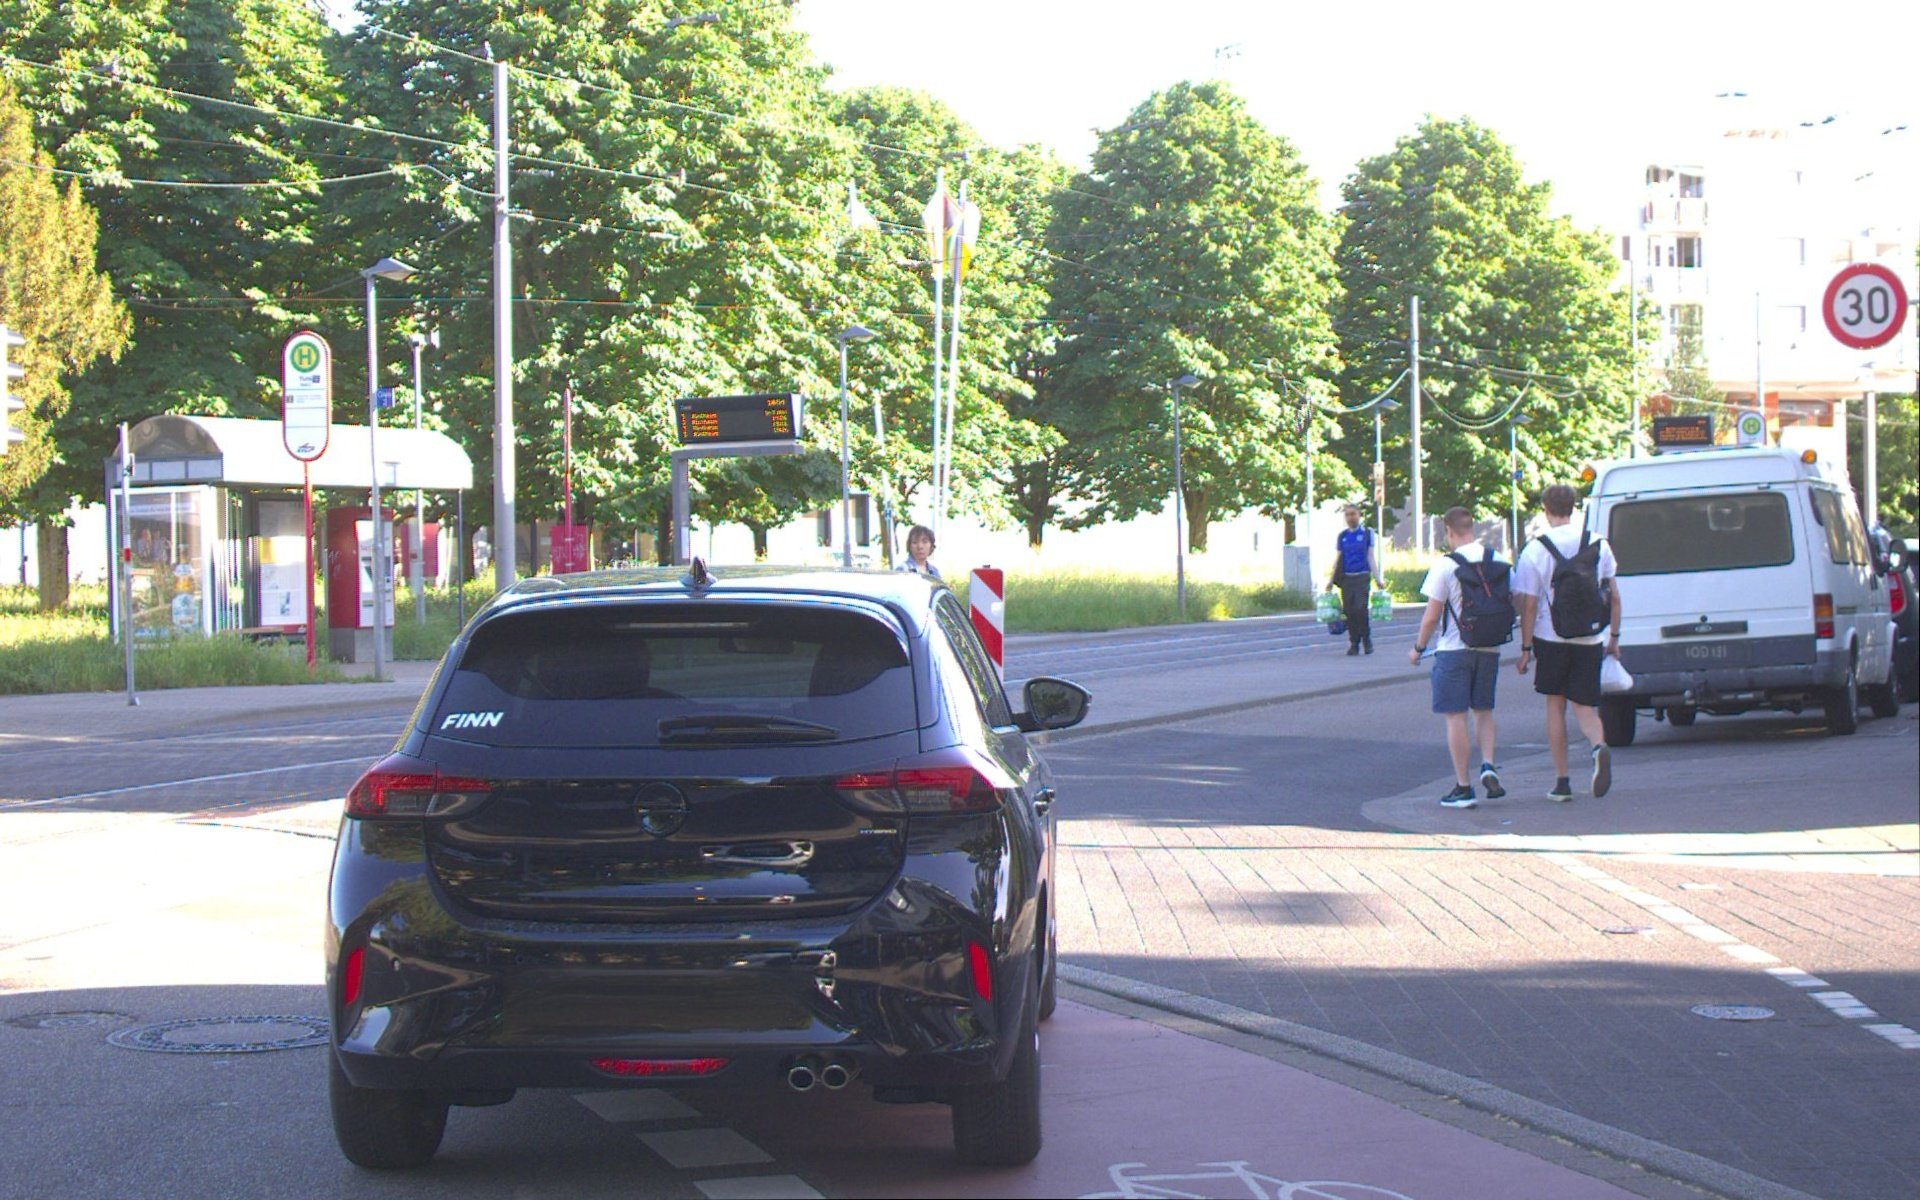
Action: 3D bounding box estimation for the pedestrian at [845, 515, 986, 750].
[{"bbox_3d":[-0.323,0.227,25.150,0.727,1.687,0.699,0,1,40],"label":"pedestrian"}]

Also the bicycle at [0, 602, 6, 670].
[{"bbox_3d":[-13.753,0.489,45.834,1.877,0.903,0.659,-1,1,4],"label":"bicycle"}]

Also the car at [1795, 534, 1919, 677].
[{"bbox_3d":[10.228,0.019,37.584,1.802,1.471,3.936,-1,1,18],"label":"car"}]

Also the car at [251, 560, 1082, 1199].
[{"bbox_3d":[-0.647,0.632,9.509,1.800,1.436,3.940,-1,1,0],"label":"car"}]

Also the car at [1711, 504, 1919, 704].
[{"bbox_3d":[8.249,0.004,32.400,1.802,1.757,3.887,-1,1,19],"label":"car"}]

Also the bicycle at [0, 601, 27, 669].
[{"bbox_3d":[-13.745,0.478,46.808,1.877,0.903,0.659,-1,1,4],"label":"bicycle"}]

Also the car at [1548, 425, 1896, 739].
[{"bbox_3d":[6.124,-0.132,27.246,2.091,2.270,4.301,0,0,21],"label":"car"}]

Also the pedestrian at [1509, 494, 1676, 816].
[{"bbox_3d":[3.711,0.308,20.149,0.704,1.840,0.699,0,1,36],"label":"pedestrian"}]

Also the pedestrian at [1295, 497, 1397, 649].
[{"bbox_3d":[4.618,-0.320,41.095,0.959,1.786,0.994,-1,1,22],"label":"pedestrian"}]

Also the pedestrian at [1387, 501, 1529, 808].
[{"bbox_3d":[2.952,0.315,20.411,0.698,1.786,0.617,-1,1,-4],"label":"pedestrian"}]
